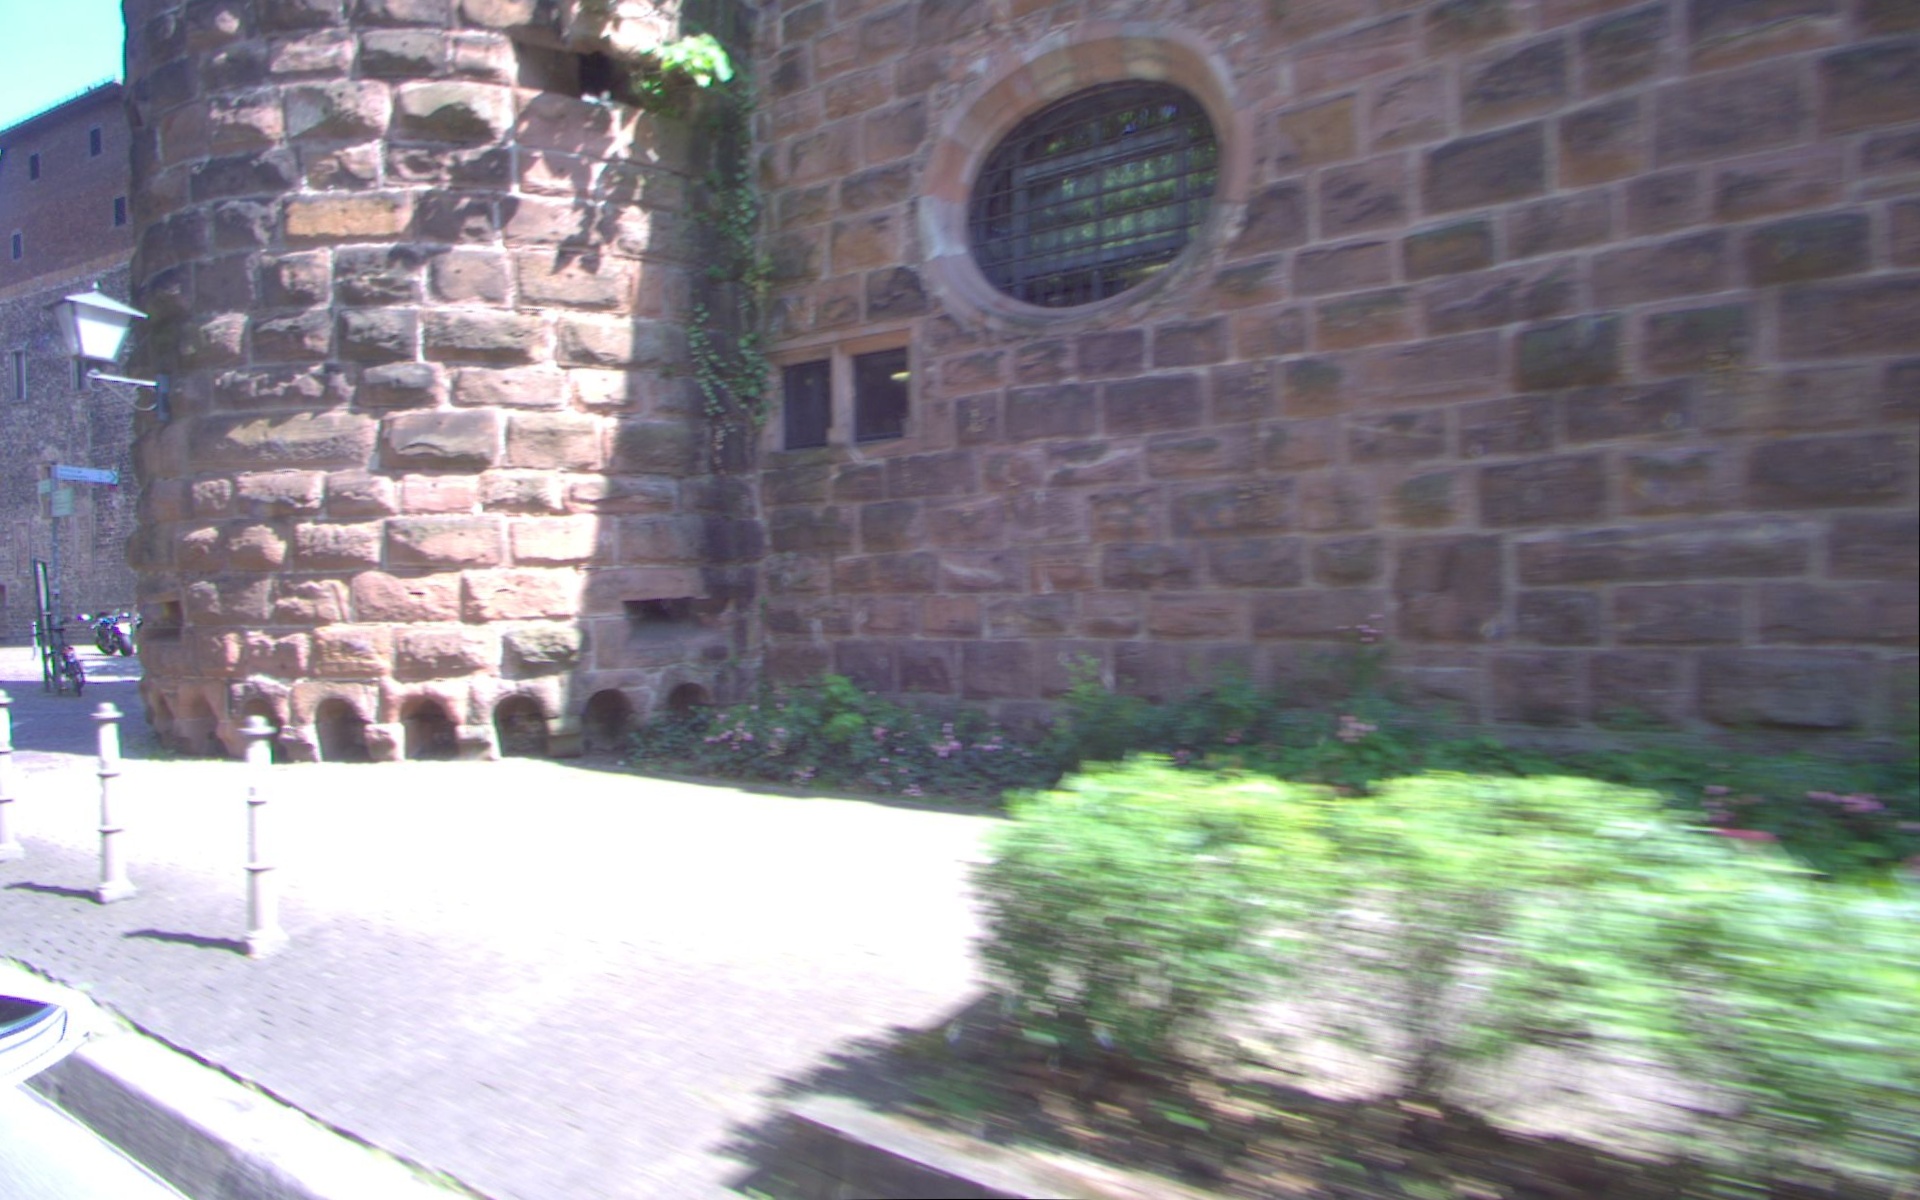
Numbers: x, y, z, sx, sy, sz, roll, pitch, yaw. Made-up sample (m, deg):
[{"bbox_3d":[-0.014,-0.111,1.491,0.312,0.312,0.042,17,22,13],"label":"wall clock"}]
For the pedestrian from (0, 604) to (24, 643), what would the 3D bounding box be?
[{"bbox_3d":[-38.365,0.952,40.449,0.618,1.537,0.656,0,-2,34],"label":"pedestrian"}]

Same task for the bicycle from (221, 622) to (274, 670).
[{"bbox_3d":[-16.063,1.029,22.556,2.027,1.043,0.494,-1,-2,41],"label":"bicycle"}]

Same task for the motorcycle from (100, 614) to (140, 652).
[{"bbox_3d":[-22.457,0.873,26.768,1.339,0.985,0.435,-1,-2,33],"label":"motorcycle"}]

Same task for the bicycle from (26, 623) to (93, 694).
[{"bbox_3d":[-14.146,0.894,15.707,2.027,1.044,0.493,-1,1,41],"label":"bicycle"}]

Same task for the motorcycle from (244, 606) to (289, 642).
[{"bbox_3d":[-20.683,0.715,29.849,1.677,1.032,0.498,-1,-2,33],"label":"motorcycle"}]

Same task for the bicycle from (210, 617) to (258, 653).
[{"bbox_3d":[-20.758,1.005,28.626,1.798,1.002,0.403,-1,-2,30],"label":"bicycle"}]

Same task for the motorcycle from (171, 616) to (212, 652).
[{"bbox_3d":[-21.705,0.957,28.285,1.446,0.985,0.457,-1,-2,33],"label":"motorcycle"}]

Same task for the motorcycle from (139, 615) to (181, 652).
[{"bbox_3d":[-21.858,0.920,27.362,1.446,0.985,0.457,-1,-2,33],"label":"motorcycle"}]
